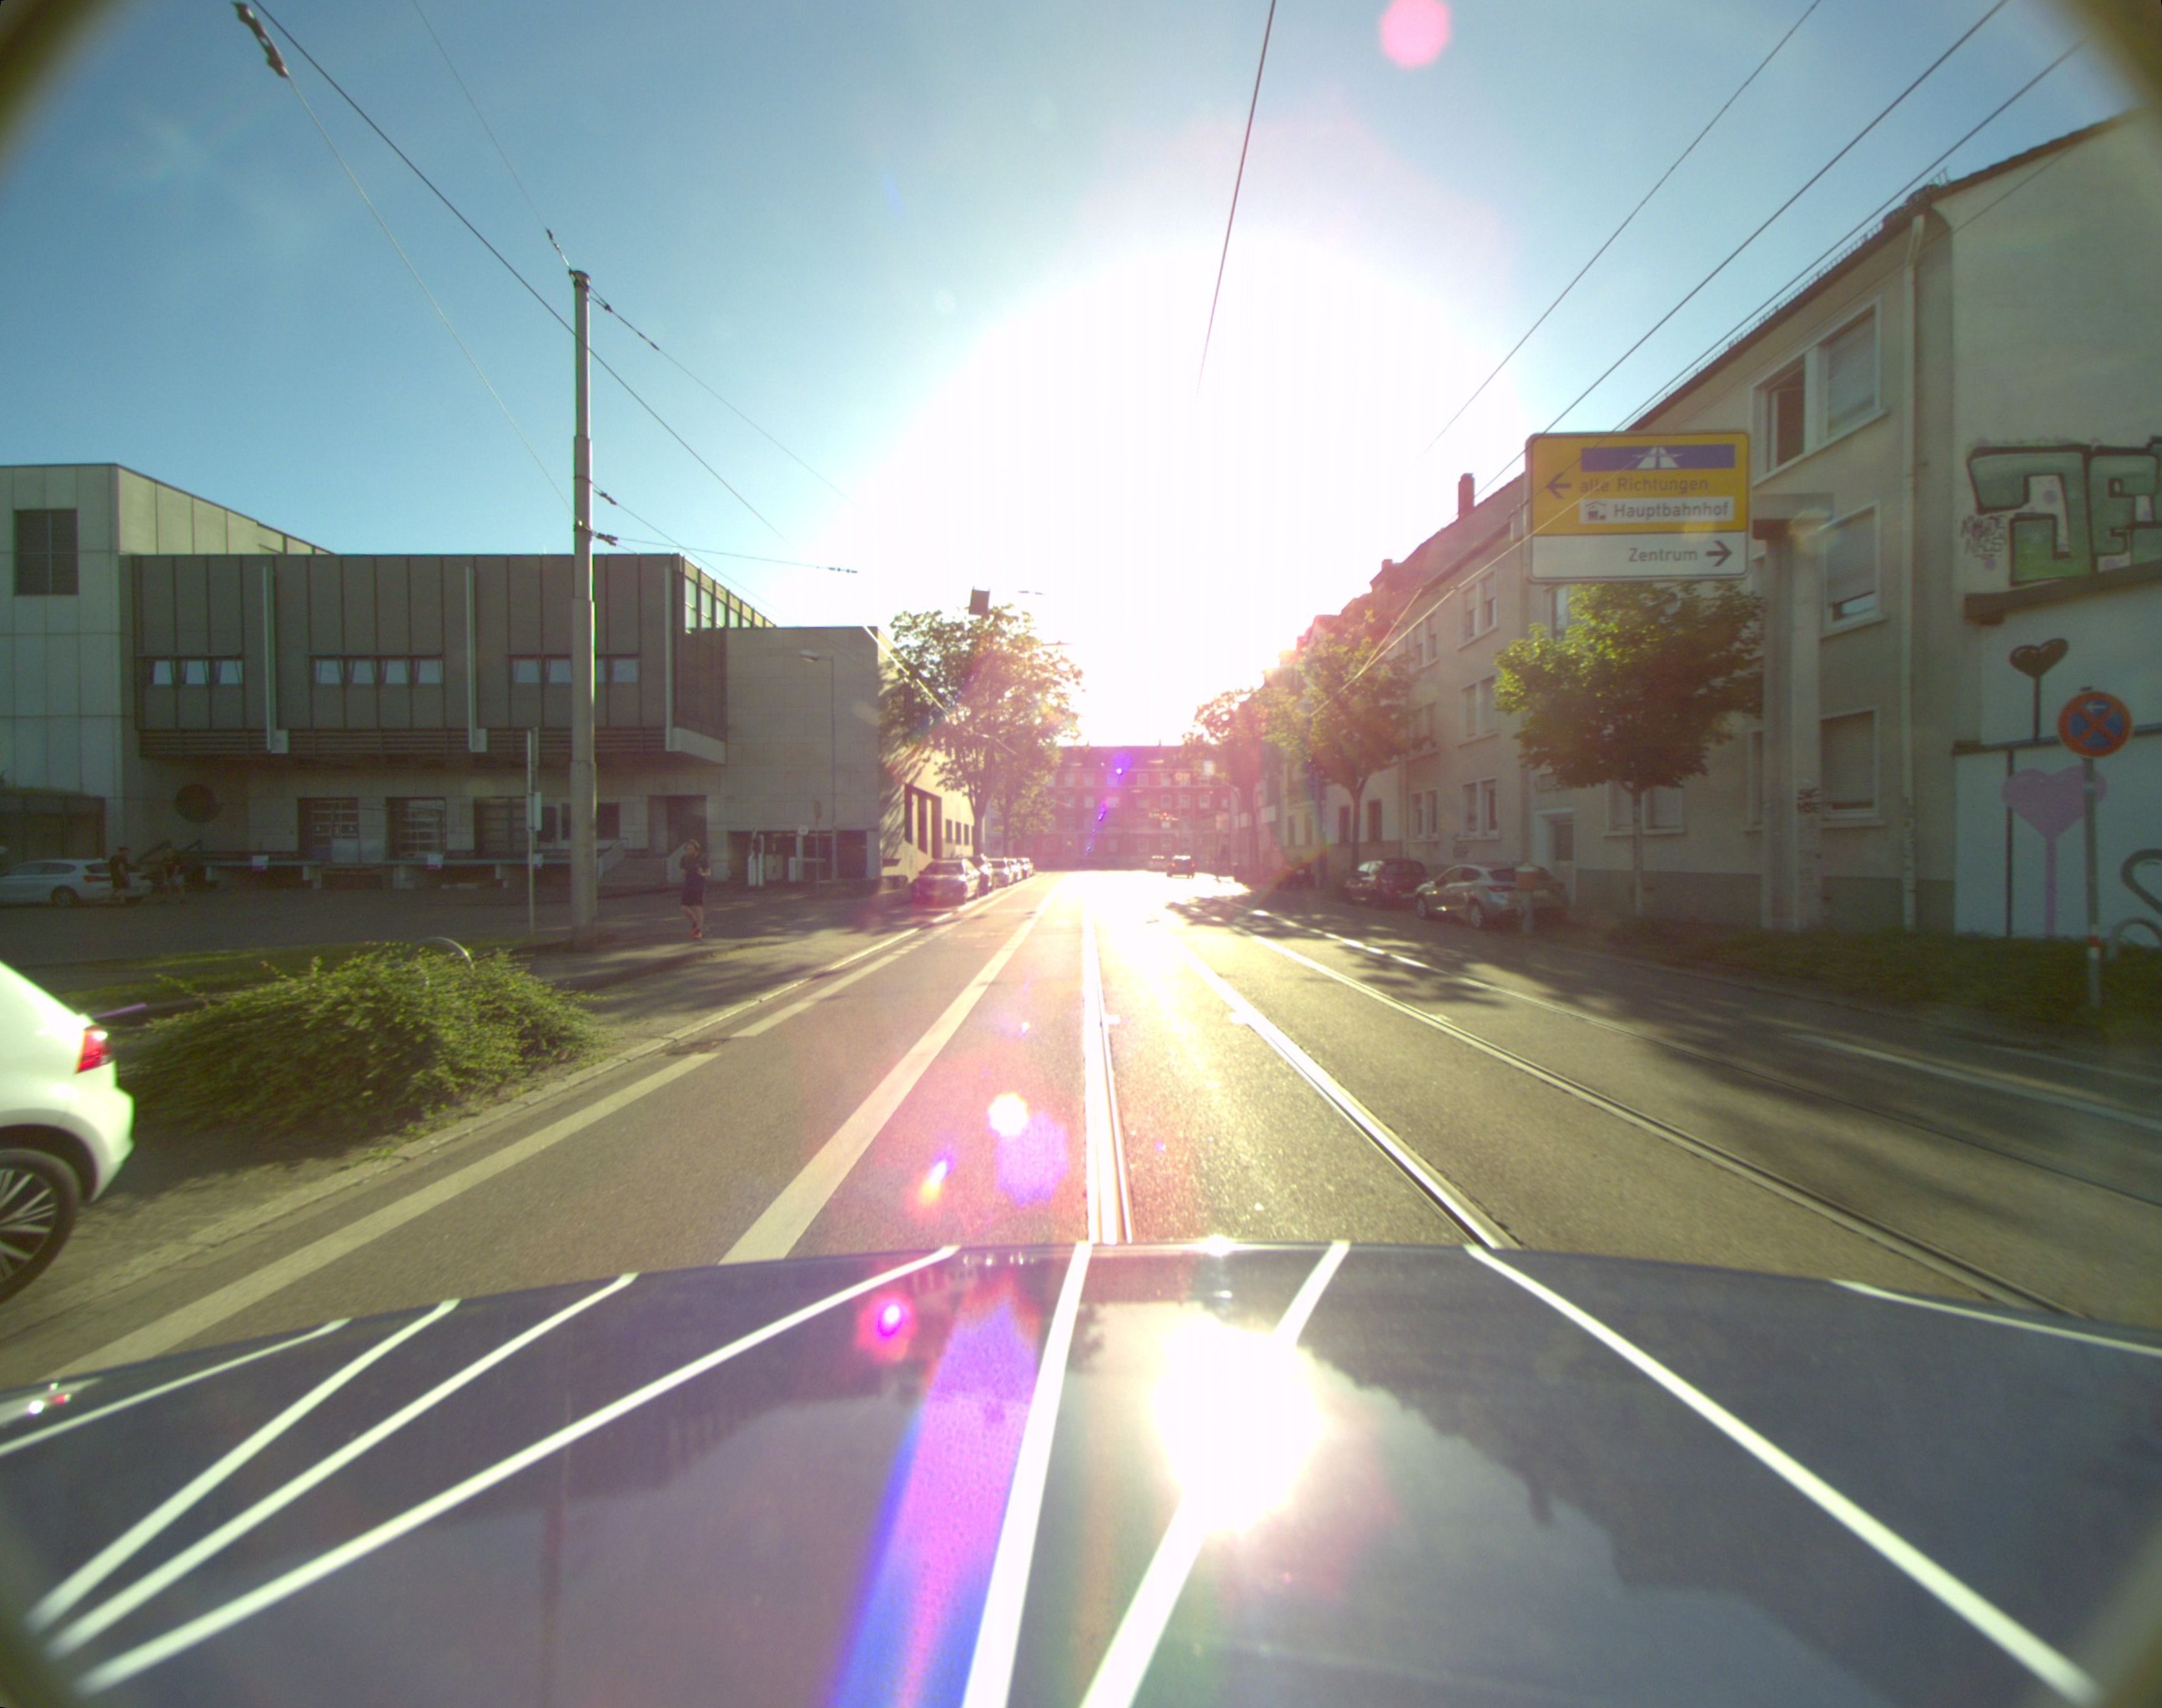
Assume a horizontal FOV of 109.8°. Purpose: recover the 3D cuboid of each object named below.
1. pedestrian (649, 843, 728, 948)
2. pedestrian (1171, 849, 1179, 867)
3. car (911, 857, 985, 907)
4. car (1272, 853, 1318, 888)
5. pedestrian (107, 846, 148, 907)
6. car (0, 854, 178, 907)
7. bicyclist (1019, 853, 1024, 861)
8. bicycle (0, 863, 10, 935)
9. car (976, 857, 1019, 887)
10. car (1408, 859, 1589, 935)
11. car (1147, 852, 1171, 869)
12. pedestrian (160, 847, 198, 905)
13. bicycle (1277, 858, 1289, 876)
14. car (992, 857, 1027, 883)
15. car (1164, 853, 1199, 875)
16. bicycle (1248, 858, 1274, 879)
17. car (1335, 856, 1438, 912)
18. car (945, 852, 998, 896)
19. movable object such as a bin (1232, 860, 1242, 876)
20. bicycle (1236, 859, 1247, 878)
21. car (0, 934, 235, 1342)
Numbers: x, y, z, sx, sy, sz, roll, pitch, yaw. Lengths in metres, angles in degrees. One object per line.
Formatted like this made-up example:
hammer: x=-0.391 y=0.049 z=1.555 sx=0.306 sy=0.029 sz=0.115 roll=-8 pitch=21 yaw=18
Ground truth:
pedestrian: x=-7.065 y=0.708 z=13.751 sx=0.672 sy=1.779 sz=1.304 roll=3 pitch=1 yaw=0
pedestrian: x=9.610 y=0.423 z=77.612 sx=0.640 sy=1.764 sz=0.583 roll=-1 pitch=1 yaw=1
car: x=-4.583 y=0.910 z=26.833 sx=1.707 sy=1.473 sz=4.658 roll=2 pitch=1 yaw=0
car: x=9.789 y=0.763 z=34.844 sx=1.358 sy=1.493 sz=2.548 roll=-1 pitch=-2 yaw=1
pedestrian: x=-28.340 y=0.664 z=22.593 sx=0.481 sy=1.770 sz=0.511 roll=-1 pitch=1 yaw=2
car: x=-30.744 y=0.786 z=23.151 sx=4.084 sy=1.465 sz=1.901 roll=-1 pitch=1 yaw=0
bicyclist: x=-9.157 y=0.498 z=116.390 sx=0.668 sy=1.217 sz=0.554 roll=-1 pitch=1 yaw=0
bicycle: x=-16.917 y=0.695 z=10.691 sx=2.013 sy=1.065 sz=0.752 roll=-2 pitch=1 yaw=-45
car: x=-4.324 y=0.889 z=39.876 sx=1.717 sy=1.481 sz=4.623 roll=0 pitch=0 yaw=0
car: x=9.431 y=0.902 z=17.622 sx=1.878 sy=1.420 sz=4.292 roll=-1 pitch=1 yaw=1
car: x=7.550 y=0.572 z=73.957 sx=1.923 sy=1.516 sz=3.999 roll=-1 pitch=1 yaw=1
pedestrian: x=-28.173 y=0.688 z=23.746 sx=0.481 sy=1.770 sz=0.511 roll=-1 pitch=1 yaw=2
bicycle: x=12.106 y=0.760 z=45.621 sx=0.303 sy=1.036 sz=1.661 roll=-1 pitch=1 yaw=1
car: x=-4.328 y=0.940 z=46.345 sx=1.713 sy=1.400 sz=4.328 roll=1 pitch=1 yaw=0
car: x=7.123 y=0.665 z=54.128 sx=1.770 sy=1.455 sz=4.746 roll=0 pitch=1 yaw=-1
bicycle: x=9.977 y=0.799 z=42.210 sx=1.344 sy=1.163 sz=0.409 roll=-1 pitch=1 yaw=1
car: x=9.315 y=0.851 z=23.498 sx=1.576 sy=1.496 sz=3.999 roll=-1 pitch=1 yaw=1
car: x=-4.550 y=0.788 z=32.202 sx=1.746 sy=1.702 sz=4.276 roll=-1 pitch=1 yaw=-2
movable object such as a bin: x=9.306 y=0.838 z=45.350 sx=0.425 sy=0.930 sz=0.582 roll=-1 pitch=1 yaw=1
bicycle: x=9.280 y=0.828 z=44.038 sx=0.303 sy=1.036 sz=1.661 roll=-1 pitch=1 yaw=1
car: x=-4.810 y=1.109 z=1.334 sx=1.680 sy=1.409 sz=4.501 roll=1 pitch=1 yaw=-1
